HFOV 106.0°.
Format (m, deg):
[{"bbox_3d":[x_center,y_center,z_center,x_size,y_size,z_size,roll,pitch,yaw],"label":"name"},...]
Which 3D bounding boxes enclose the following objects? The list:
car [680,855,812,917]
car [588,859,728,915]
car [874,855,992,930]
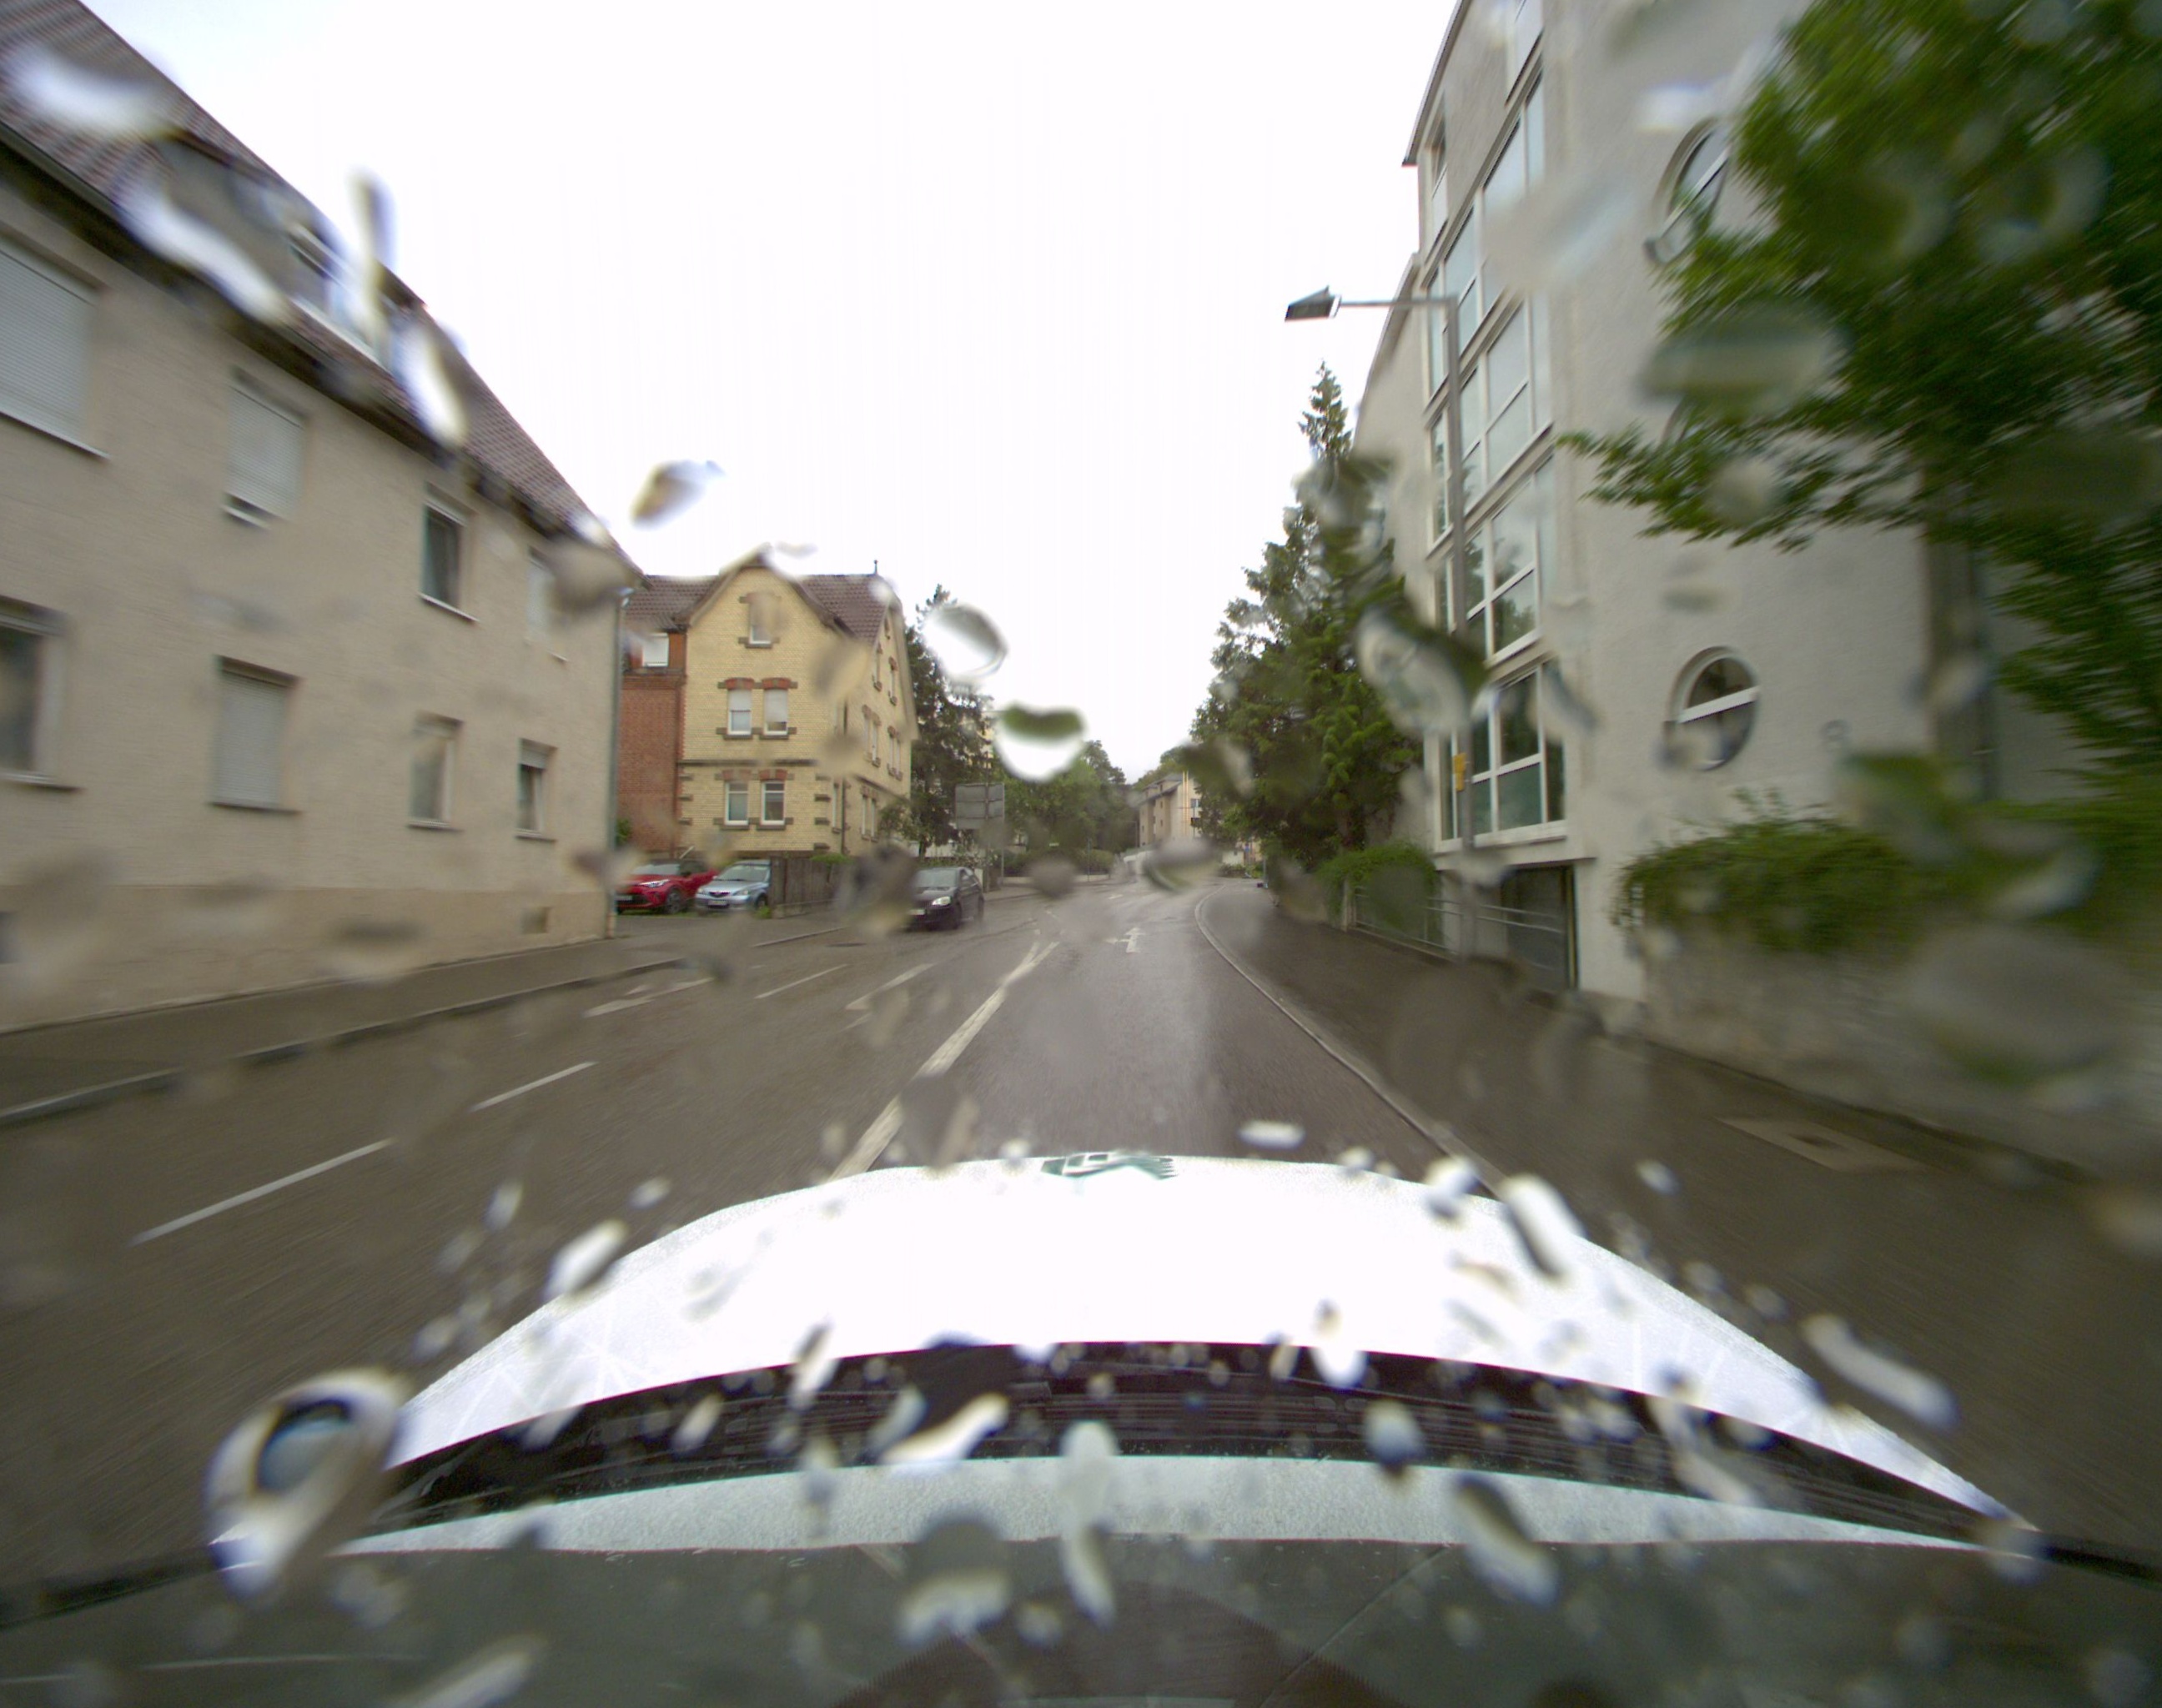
[{"bbox_3d":[-8.993,0.796,22.229,1.763,1.503,3.886,1,0,3],"label":"car"},{"bbox_3d":[-11.647,0.851,22.739,1.764,1.367,3.884,1,0,2],"label":"car"},{"bbox_3d":[-3.466,0.866,19.840,1.736,1.571,3.819,3,0,6],"label":"car"}]
